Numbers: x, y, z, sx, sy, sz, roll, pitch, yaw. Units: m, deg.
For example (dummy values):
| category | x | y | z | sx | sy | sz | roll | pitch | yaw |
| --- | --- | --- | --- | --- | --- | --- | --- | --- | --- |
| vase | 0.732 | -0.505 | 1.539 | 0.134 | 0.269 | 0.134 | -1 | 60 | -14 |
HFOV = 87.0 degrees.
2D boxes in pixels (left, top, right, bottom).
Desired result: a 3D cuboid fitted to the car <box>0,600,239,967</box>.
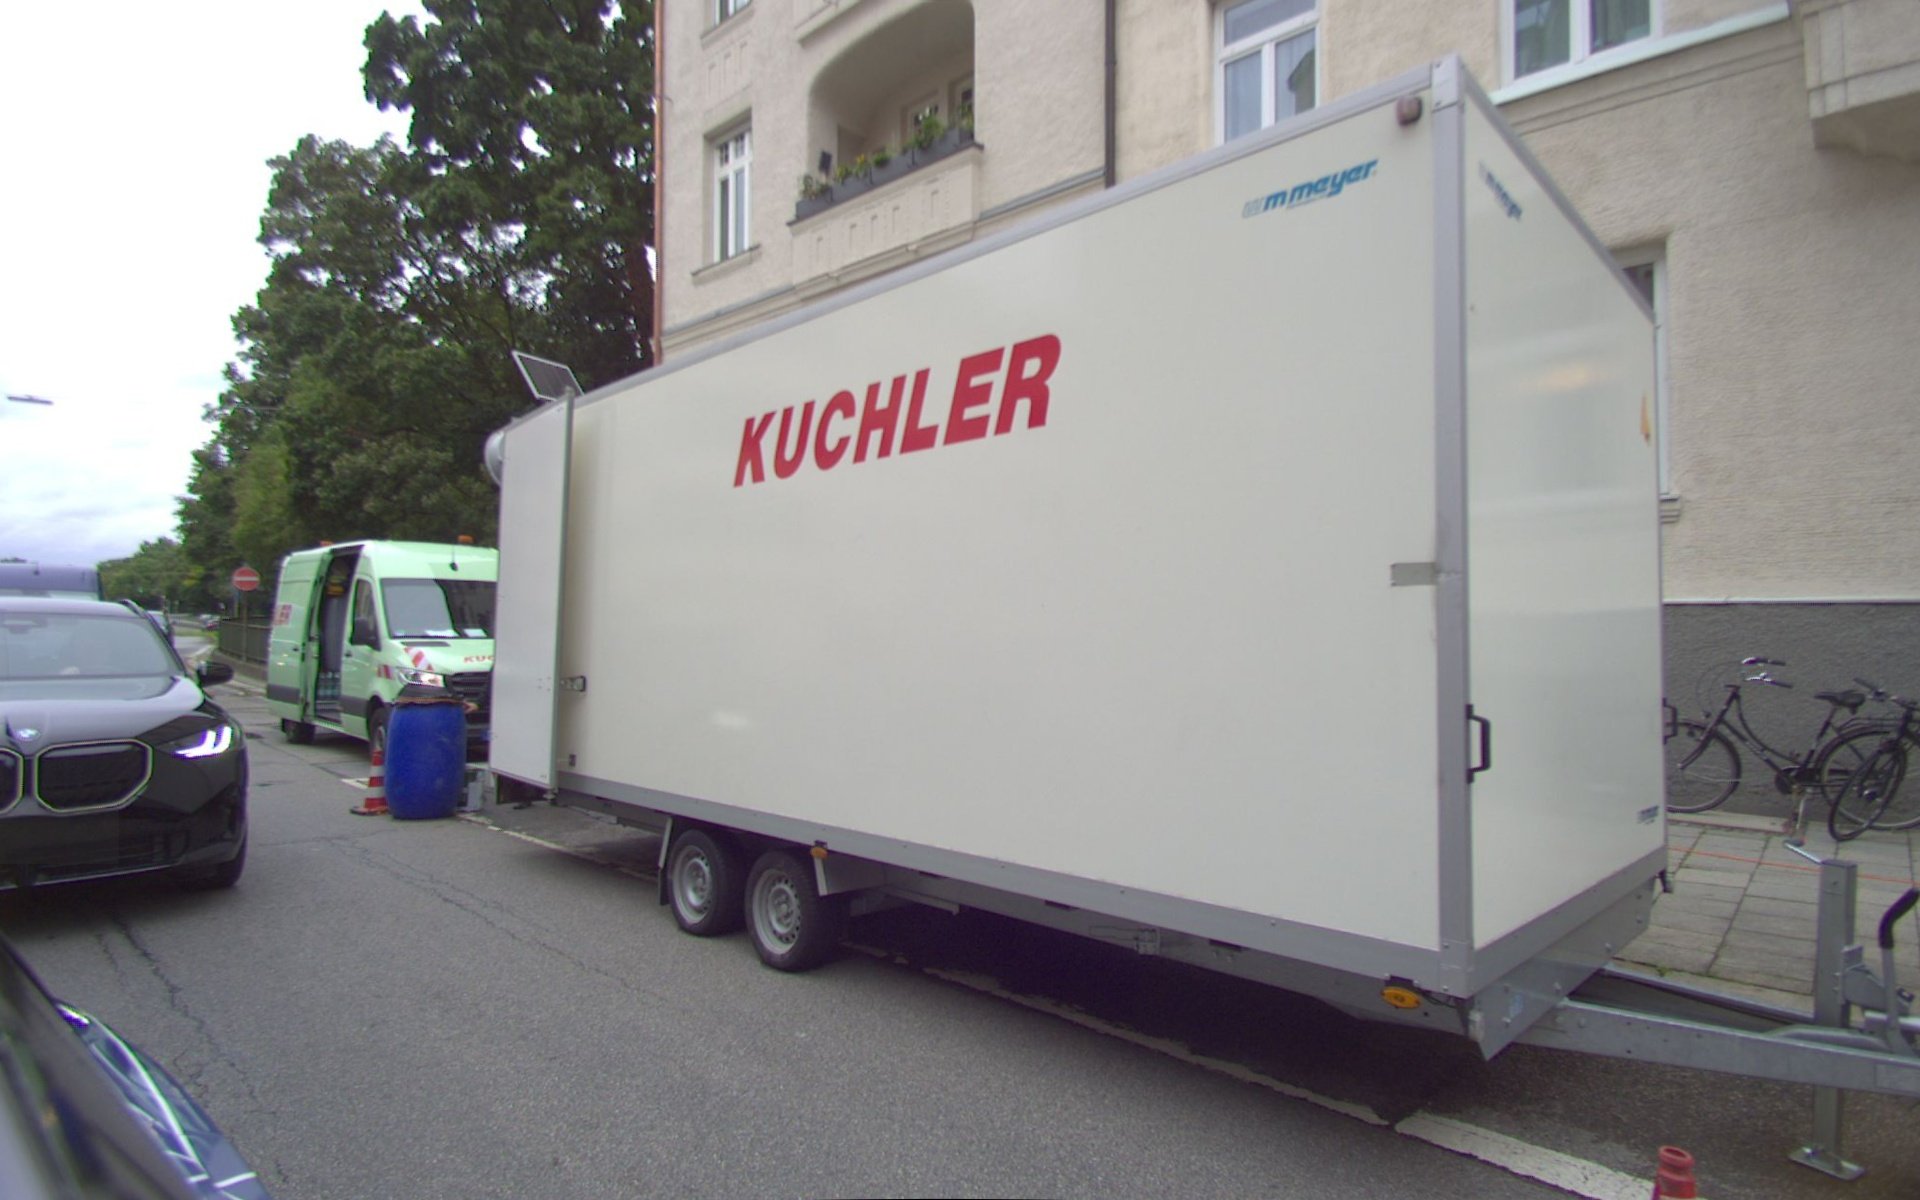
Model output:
| category | x | y | z | sx | sy | sz | roll | pitch | yaw |
| --- | --- | --- | --- | --- | --- | --- | --- | --- | --- |
| car | -5.604 | 0.798 | 5.915 | 1.892 | 1.577 | 4.301 | 2 | -2 | -40 |

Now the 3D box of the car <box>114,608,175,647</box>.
| category | x | y | z | sx | sy | sz | roll | pitch | yaw |
| --- | --- | --- | --- | --- | --- | --- | --- | --- | --- |
| car | -35.121 | 1.196 | 43.681 | 1.789 | 1.474 | 4.173 | 7 | -5 | -37 |

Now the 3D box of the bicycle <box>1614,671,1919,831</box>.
| category | x | y | z | sx | sy | sz | roll | pitch | yaw |
| --- | --- | --- | --- | --- | --- | --- | --- | --- | --- |
| bicycle | 5.647 | 0.998 | 7.019 | 0.391 | 0.930 | 1.804 | -2 | 0 | -44 |

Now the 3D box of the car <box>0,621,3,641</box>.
| category | x | y | z | sx | sy | sz | roll | pitch | yaw |
| --- | --- | --- | --- | --- | --- | --- | --- | --- | --- |
| car | -68.055 | 2.176 | 70.436 | 1.810 | 1.409 | 4.006 | 3 | -3 | -41 |

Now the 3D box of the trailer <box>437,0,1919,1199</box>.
| category | x | y | z | sx | sy | sz | roll | pitch | yaw |
| --- | --- | --- | --- | --- | --- | --- | --- | --- | --- |
| trailer | 0.255 | 0.119 | 5.040 | 2.771 | 2.992 | 7.603 | 6 | -6 | -45 |

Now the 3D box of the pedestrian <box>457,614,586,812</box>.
| category | x | y | z | sx | sy | sz | roll | pitch | yaw |
| --- | --- | --- | --- | --- | --- | --- | --- | --- | --- |
| pedestrian | -3.730 | 0.921 | 8.640 | 0.633 | 1.592 | 0.757 | 0 | -2 | 25 |

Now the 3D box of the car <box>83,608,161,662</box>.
| category | x | y | z | sx | sy | sz | roll | pitch | yaw |
| --- | --- | --- | --- | --- | --- | --- | --- | --- | --- |
| car | -28.214 | 1.174 | 34.151 | 1.790 | 1.601 | 4.172 | 7 | -5 | -38 |

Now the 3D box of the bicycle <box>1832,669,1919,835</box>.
| category | x | y | z | sx | sy | sz | roll | pitch | yaw |
| --- | --- | --- | --- | --- | --- | --- | --- | --- | --- |
| bicycle | 6.556 | 0.967 | 6.191 | 0.426 | 1.013 | 1.804 | -2 | 0 | -44 |

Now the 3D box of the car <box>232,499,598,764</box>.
| category | x | y | z | sx | sy | sz | roll | pitch | yaw |
| --- | --- | --- | --- | --- | --- | --- | --- | --- | --- |
| car | -7.279 | 0.381 | 13.002 | 6.795 | 2.592 | 2.117 | -2 | -2 | 44 |

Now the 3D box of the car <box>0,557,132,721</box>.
| category | x | y | z | sx | sy | sz | roll | pitch | yaw |
| --- | --- | --- | --- | --- | --- | --- | --- | --- | --- |
| car | -16.323 | 0.606 | 18.073 | 1.974 | 2.510 | 6.248 | 1 | -1 | -36 |

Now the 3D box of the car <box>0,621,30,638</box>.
| category | x | y | z | sx | sy | sz | roll | pitch | yaw |
| --- | --- | --- | --- | --- | --- | --- | --- | --- | --- |
| car | -81.488 | 2.520 | 87.221 | 1.810 | 1.409 | 4.006 | 3 | -3 | -41 |
